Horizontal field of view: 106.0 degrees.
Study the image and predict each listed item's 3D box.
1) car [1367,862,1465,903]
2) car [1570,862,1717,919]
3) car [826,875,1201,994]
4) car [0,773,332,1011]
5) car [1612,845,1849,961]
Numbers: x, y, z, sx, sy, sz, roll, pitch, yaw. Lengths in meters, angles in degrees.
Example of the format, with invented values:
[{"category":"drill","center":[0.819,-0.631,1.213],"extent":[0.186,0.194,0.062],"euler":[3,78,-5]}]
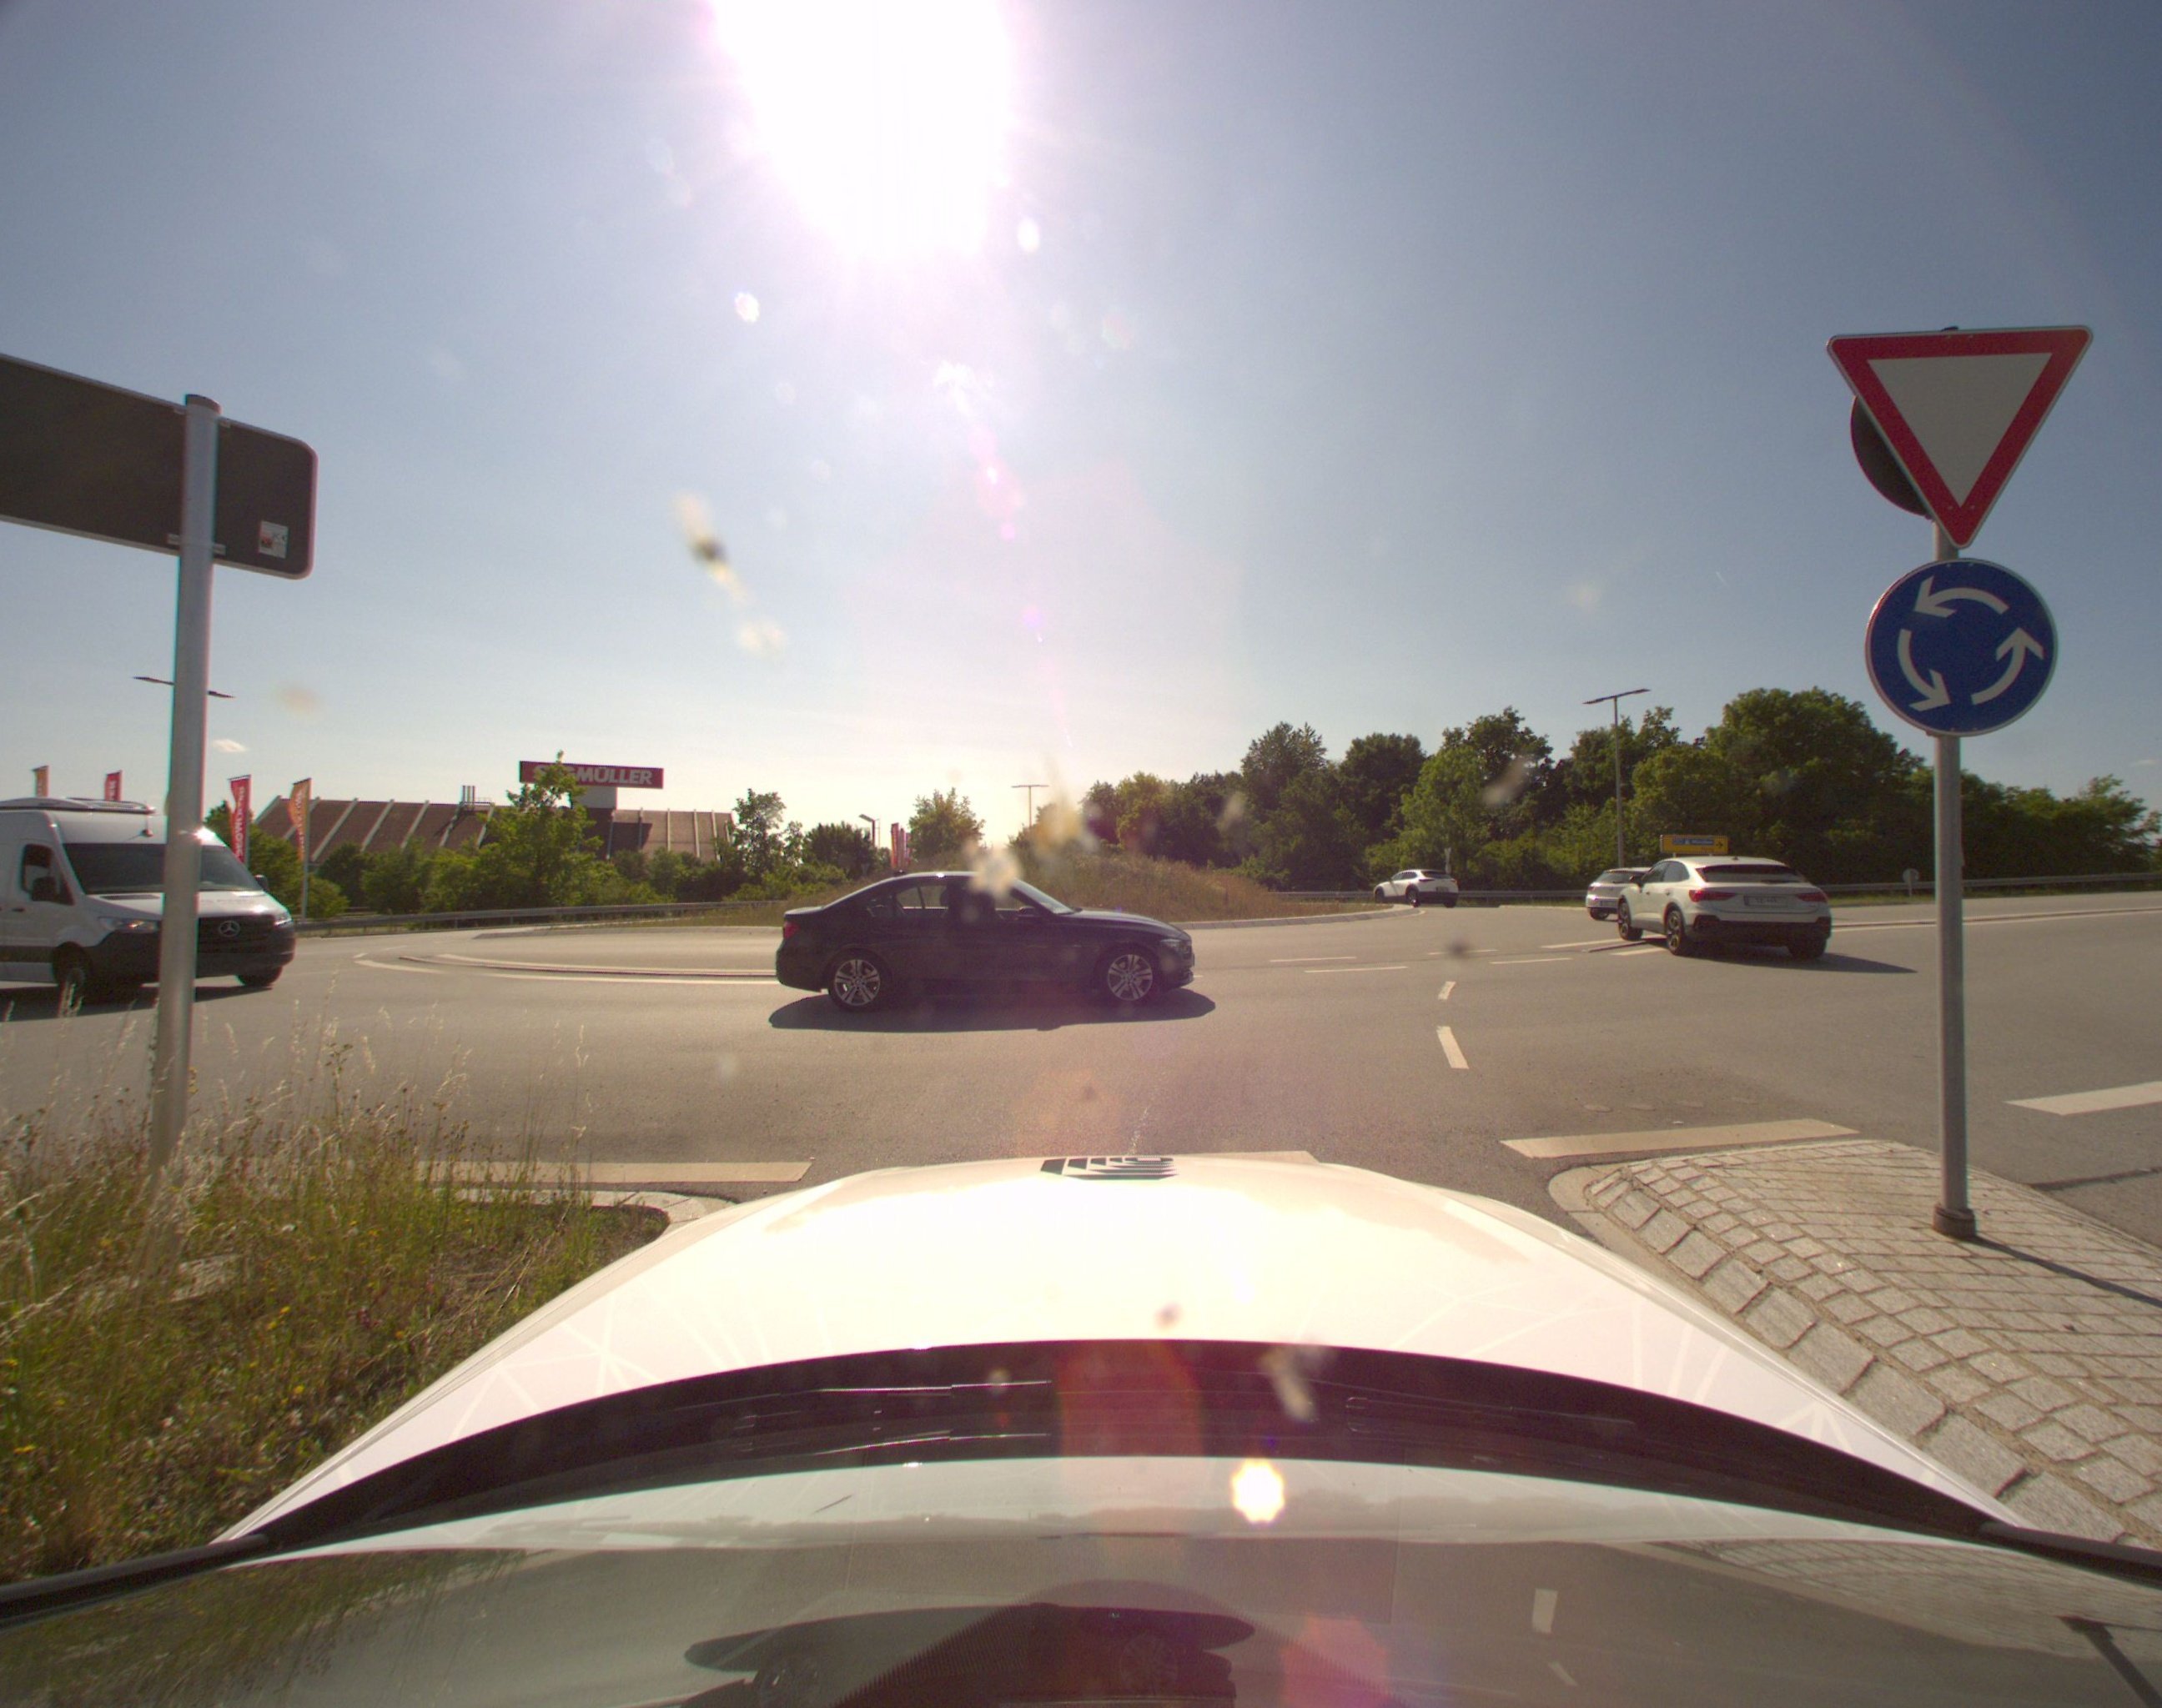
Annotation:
[{"category":"car","center":[13.681,1.199,33.545],"extent":[1.785,1.530,4.274],"euler":[-1,-2,-8]},{"category":"car","center":[15.227,0.928,21.994],"extent":[4.434,1.405,1.773],"euler":[1,-1,-34]},{"category":"car","center":[-0.700,0.843,9.208],"extent":[3.843,1.182,1.675],"euler":[0,-1,-3]},{"category":"car","center":[-14.264,0.598,11.810],"extent":[6.072,2.921,2.093],"euler":[-2,-2,15]},{"category":"car","center":[10.507,0.715,13.612],"extent":[1.825,1.596,4.347],"euler":[-1,-1,21]}]
